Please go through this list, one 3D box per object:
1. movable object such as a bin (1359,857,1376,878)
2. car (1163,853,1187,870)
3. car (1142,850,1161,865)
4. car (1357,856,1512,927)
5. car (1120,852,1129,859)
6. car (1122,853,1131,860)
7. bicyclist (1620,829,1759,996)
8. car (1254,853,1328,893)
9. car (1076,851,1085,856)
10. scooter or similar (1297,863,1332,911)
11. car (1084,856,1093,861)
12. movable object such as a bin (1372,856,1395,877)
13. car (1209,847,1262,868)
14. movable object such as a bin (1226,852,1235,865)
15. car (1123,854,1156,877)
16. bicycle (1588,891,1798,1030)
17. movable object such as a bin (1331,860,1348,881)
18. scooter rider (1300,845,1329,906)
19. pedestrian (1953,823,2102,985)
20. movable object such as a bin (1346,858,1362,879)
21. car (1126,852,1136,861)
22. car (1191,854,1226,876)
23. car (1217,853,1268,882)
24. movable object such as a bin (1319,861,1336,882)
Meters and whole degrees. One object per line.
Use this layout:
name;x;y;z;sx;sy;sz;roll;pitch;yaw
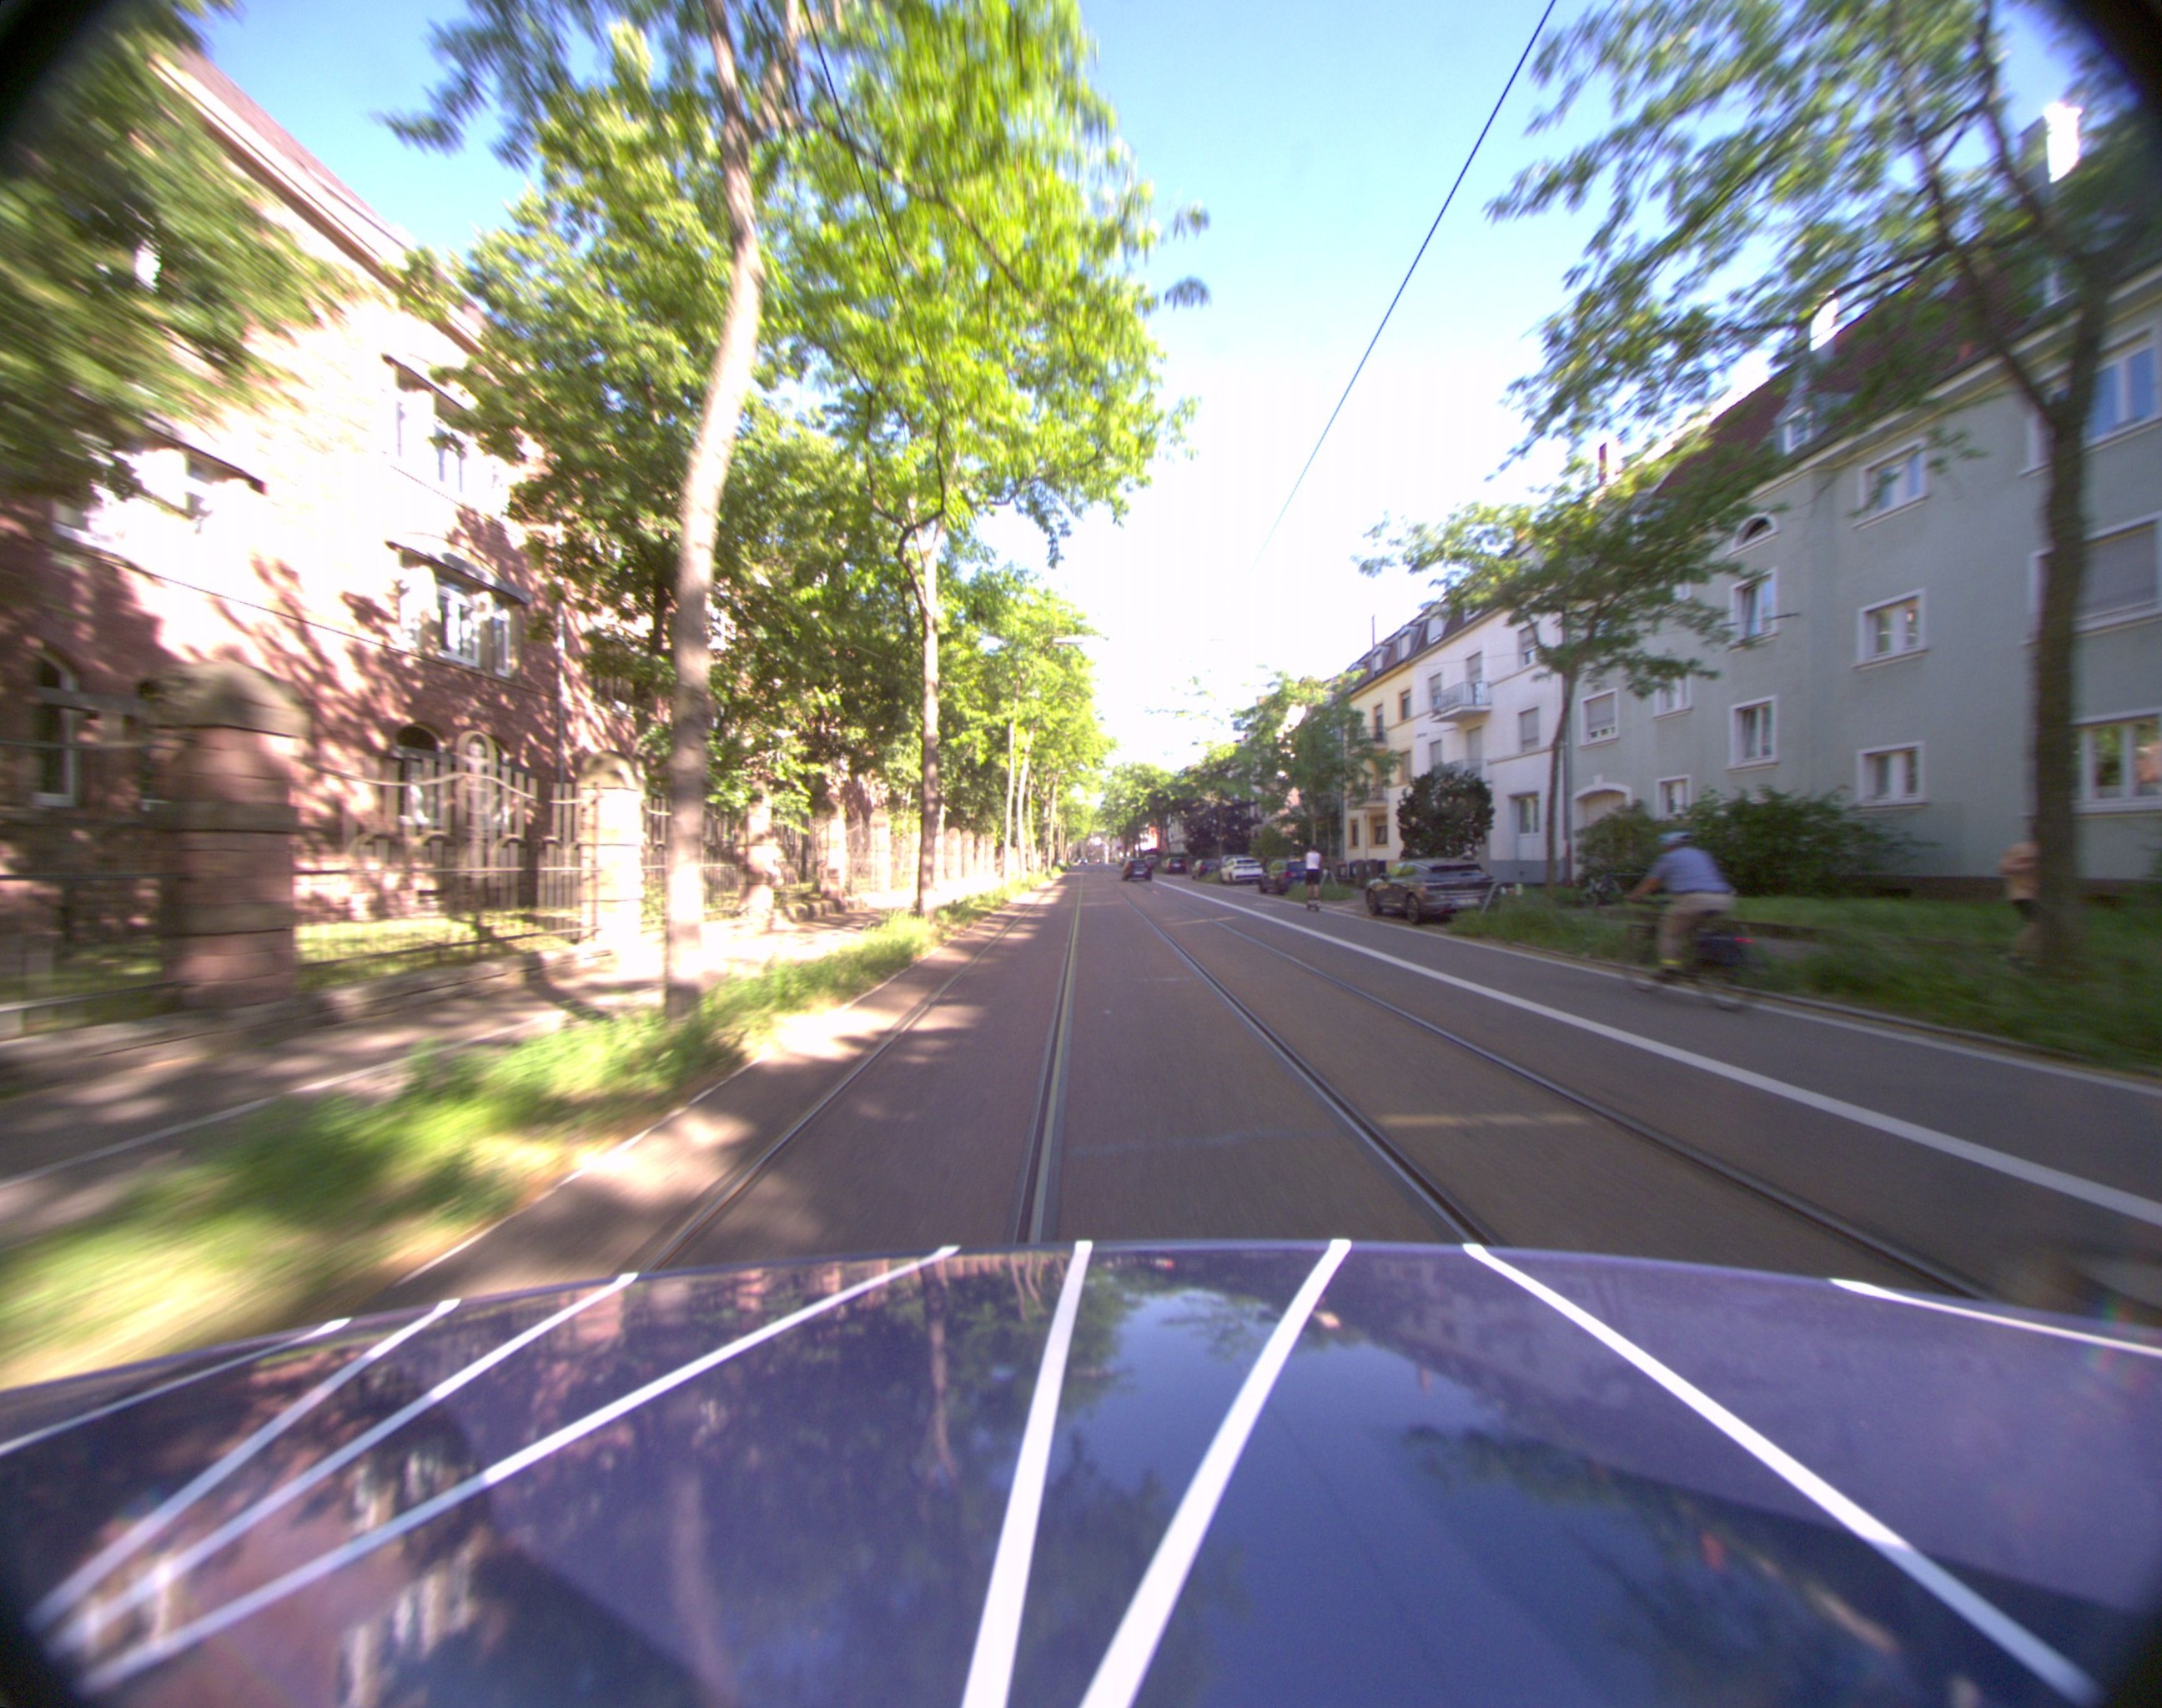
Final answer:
movable object such as a bin;14.172;0.662;37.644;0.561;0.970;0.733;-3;1;3
car;8.993;0.662;72.913;1.781;1.532;4.485;-2;0;0
car;9.046;0.461;98.369;1.875;1.812;4.770;-2;0;-2
car;8.449;0.814;18.628;1.822;1.476;4.206;-2;0;0
car;9.564;0.405;167.577;1.577;1.446;4.095;-2;0;-3
car;9.518;0.480;158.542;1.558;1.446;3.668;-2;0;0
bicyclist;6.318;0.575;7.943;0.627;1.629;0.940;2;1;0
car;8.695;0.753;31.832;1.762;1.502;4.438;-2;0;-1
car;-0.069;-0.033;227.381;1.880;1.390;3.996;-3;0;-11
scooter or similar;6.579;0.910;21.481;0.521;1.290;1.377;3;0;0
car;2.206;1.321;219.901;1.880;1.390;3.996;-3;0;-11
movable object such as a bin;15.232;0.624;38.323;0.846;1.040;0.733;-3;1;3
car;13.540;0.292;66.616;4.177;1.649;1.983;-2;0;-1
movable object such as a bin;12.142;0.368;61.680;0.542;1.060;0.670;0;1;1
car;3.780;0.732;49.862;1.762;1.431;4.523;-1;0;-1
bicycle;6.300;1.030;7.987;0.628;1.170;1.913;2;0;0
movable object such as a bin;12.822;0.824;37.705;0.561;0.970;0.733;-3;1;3
scooter rider;6.585;0.595;21.438;0.498;1.690;0.786;3;1;0
pedestrian;10.911;0.549;8.794;0.693;1.791;0.813;0;1;0
movable object such as a bin;13.543;0.715;37.688;0.561;0.970;0.733;-3;1;3
car;9.653;0.455;146.739;1.629;1.526;3.689;-2;0;-1
car;8.950;0.733;53.619;1.710;1.398;4.333;-2;0;-1
car;8.950;0.702;42.400;1.822;1.502;4.370;-2;0;-1
movable object such as a bin;12.251;0.855;37.775;0.561;0.970;0.733;-3;1;3
